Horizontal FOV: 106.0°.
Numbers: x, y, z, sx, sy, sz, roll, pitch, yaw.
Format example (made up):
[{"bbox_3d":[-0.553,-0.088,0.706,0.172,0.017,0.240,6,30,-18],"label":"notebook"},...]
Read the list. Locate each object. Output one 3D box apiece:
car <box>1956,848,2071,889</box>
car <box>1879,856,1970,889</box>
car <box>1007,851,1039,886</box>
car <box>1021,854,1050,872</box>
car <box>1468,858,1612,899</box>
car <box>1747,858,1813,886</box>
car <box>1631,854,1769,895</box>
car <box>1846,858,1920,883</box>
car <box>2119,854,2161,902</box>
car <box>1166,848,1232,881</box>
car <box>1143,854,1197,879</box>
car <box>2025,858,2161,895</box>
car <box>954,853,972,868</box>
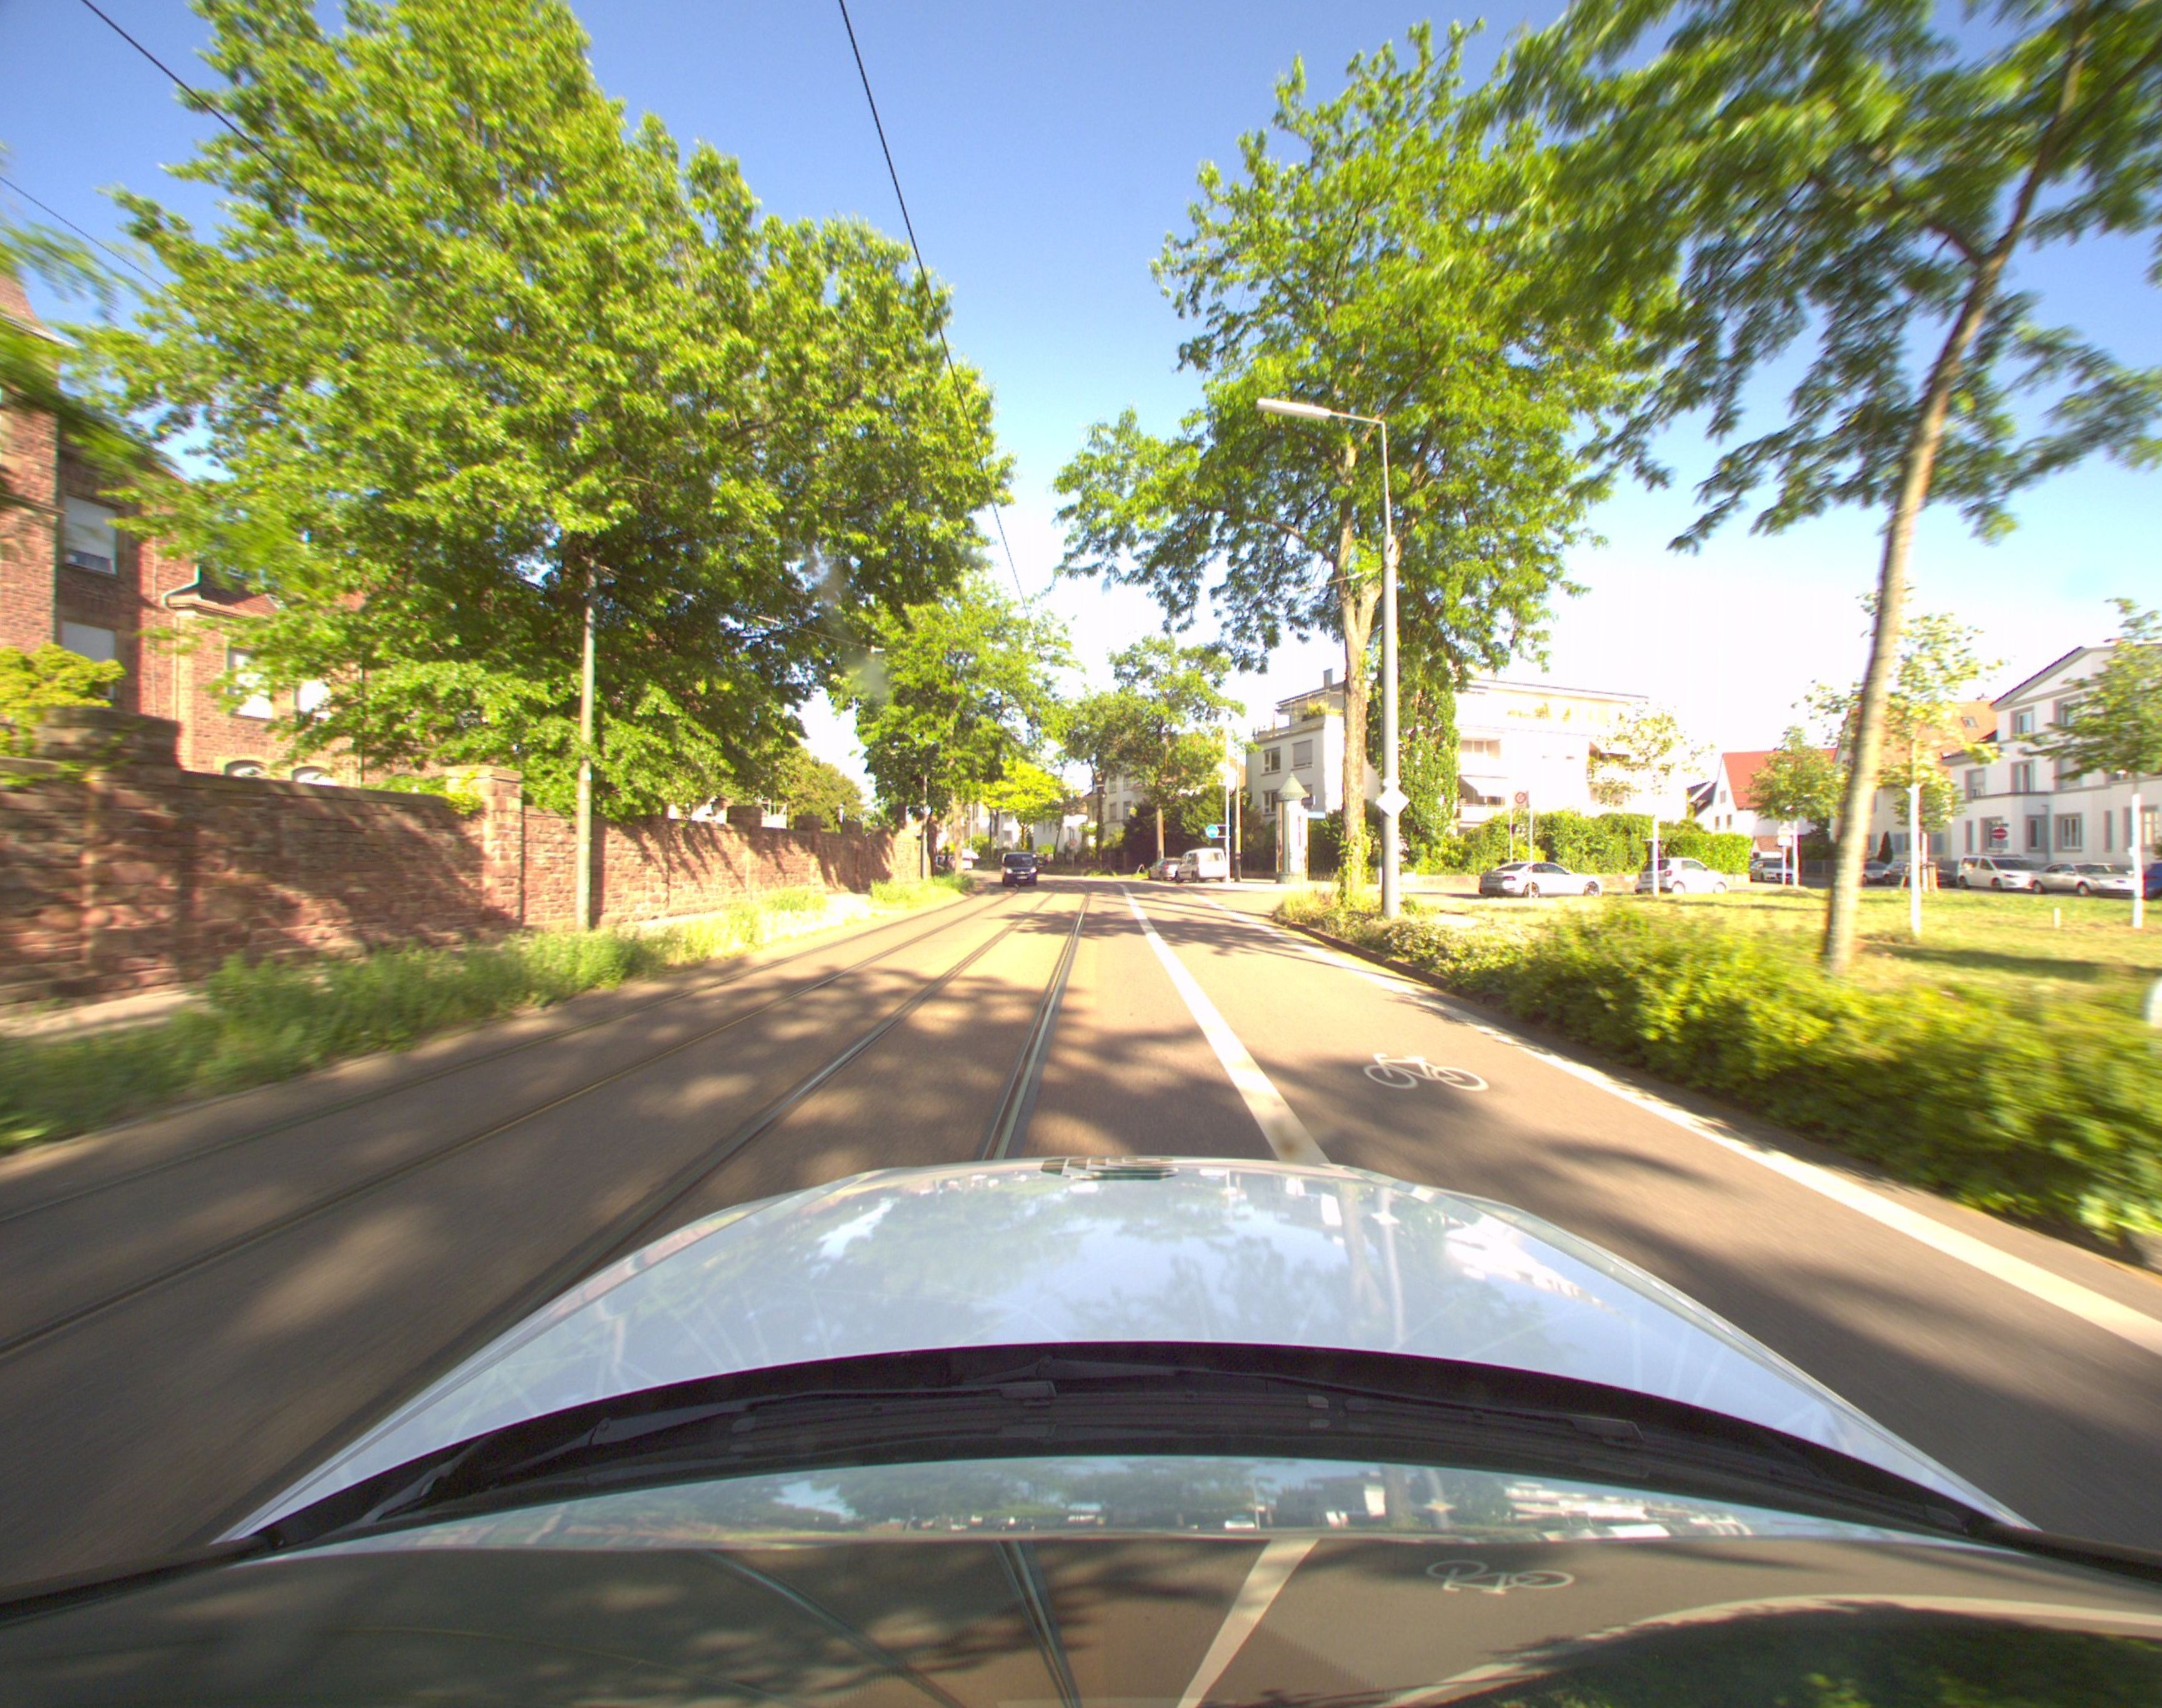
[{"bbox_3d":[44.498,0.701,39.030,1.975,1.842,4.583,0,-1,26],"label":"car"},{"bbox_3d":[47.940,0.993,46.413,1.976,1.785,4.627,0,0,23],"label":"car"},{"bbox_3d":[-3.174,0.758,44.959,1.629,1.792,4.333,0,0,-3],"label":"car"},{"bbox_3d":[-4.676,0.939,83.088,1.809,1.694,4.700,-3,1,-18],"label":"car"},{"bbox_3d":[16.546,0.842,29.383,4.520,1.369,1.958,0,0,-17],"label":"car"},{"bbox_3d":[44.194,1.103,51.605,2.027,1.708,4.312,0,0,24],"label":"car"},{"bbox_3d":[23.740,0.784,31.291,4.281,1.511,1.833,0,-3,-11],"label":"car"},{"bbox_3d":[50.423,1.017,51.298,1.976,1.520,4.022,0,0,23],"label":"car"},{"bbox_3d":[34.632,0.734,23.900,2.063,1.471,4.727,0,0,-17],"label":"car"},{"bbox_3d":[6.439,0.546,44.998,2.025,1.747,4.729,0,0,-14],"label":"car"},{"bbox_3d":[5.491,0.779,50.908,1.997,1.423,4.311,0,-1,-14],"label":"car"},{"bbox_3d":[42.193,0.932,33.928,1.975,1.429,4.790,0,-1,26],"label":"car"},{"bbox_3d":[-13.754,0.737,94.738,1.893,1.611,4.212,0,-2,-11],"label":"car"}]
